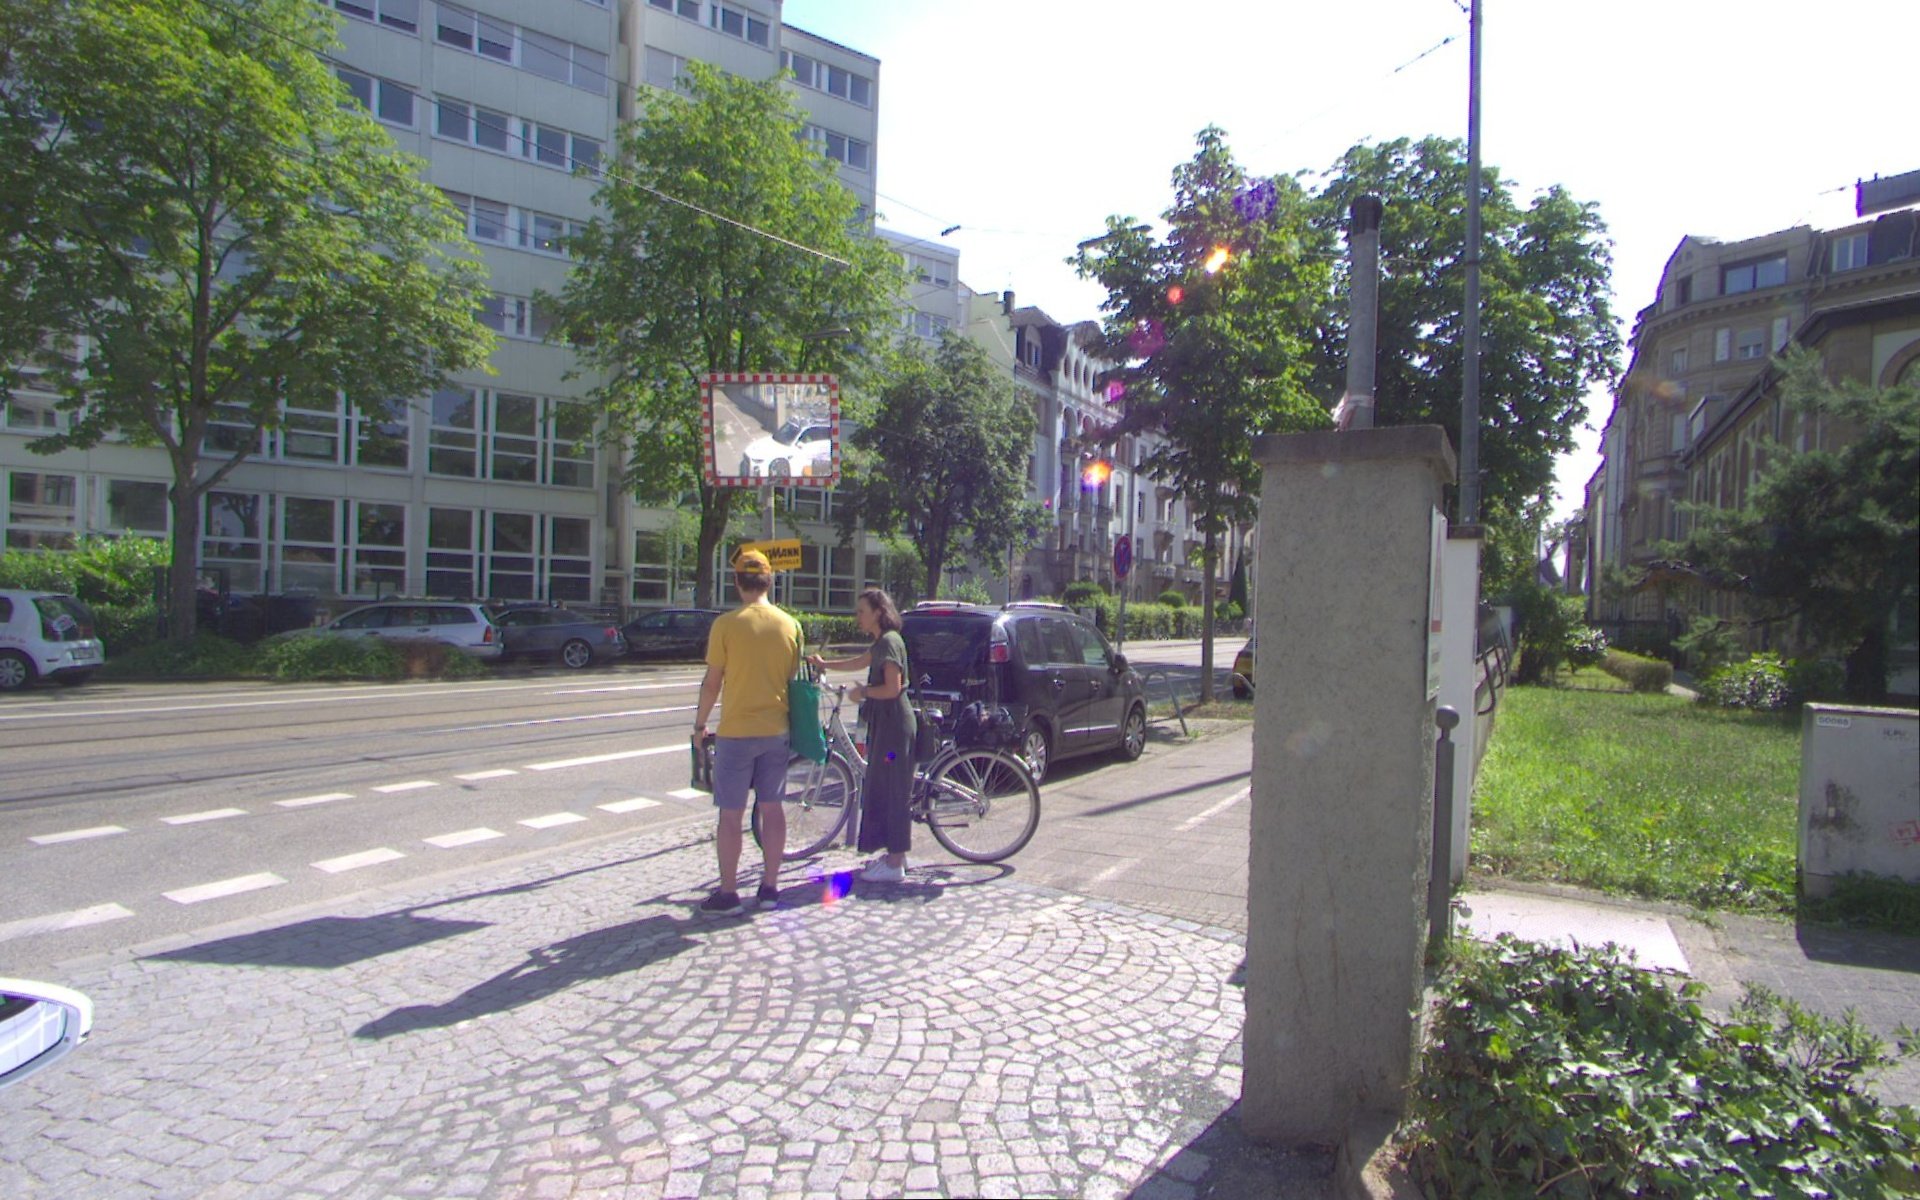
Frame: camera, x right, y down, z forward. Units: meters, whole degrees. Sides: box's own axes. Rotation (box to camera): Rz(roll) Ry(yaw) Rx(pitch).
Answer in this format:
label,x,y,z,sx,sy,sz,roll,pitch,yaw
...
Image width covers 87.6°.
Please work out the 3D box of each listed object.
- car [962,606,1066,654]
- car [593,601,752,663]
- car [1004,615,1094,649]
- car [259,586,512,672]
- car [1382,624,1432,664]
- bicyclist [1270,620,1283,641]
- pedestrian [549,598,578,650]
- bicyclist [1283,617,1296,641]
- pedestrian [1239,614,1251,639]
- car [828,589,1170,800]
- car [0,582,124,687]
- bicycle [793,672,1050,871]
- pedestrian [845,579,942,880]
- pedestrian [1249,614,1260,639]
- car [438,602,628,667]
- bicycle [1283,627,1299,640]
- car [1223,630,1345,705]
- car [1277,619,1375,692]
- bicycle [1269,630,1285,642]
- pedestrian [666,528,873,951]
label,x,y,z,sx,sy,sz,roll,pitch,yaw
car,2.296,1.264,42.541,3.935,1.884,1.993,2,0,-23
car,-7.547,0.847,26.449,3.875,1.505,1.556,2,0,-16
car,4.337,1.564,49.201,3.929,1.528,1.997,2,-1,-16
car,-11.723,0.619,20.744,4.270,1.625,1.555,2,-1,-19
car,20.853,2.004,46.624,1.828,1.702,3.984,1,-1,28
bicyclist,25.240,2.428,79.807,0.793,1.563,0.860,2,0,33
pedestrian,-11.486,0.698,29.017,0.417,1.480,0.620,2,0,27
bicyclist,26.004,2.268,79.022,0.793,1.825,0.860,2,0,33
pedestrian,22.553,2.063,79.222,0.680,1.958,0.785,2,0,28
car,0.614,0.823,10.387,1.829,1.706,3.981,1,-1,31
car,-15.147,0.477,14.851,3.874,1.505,1.610,1,0,-15
bicycle,-0.229,1.003,6.048,1.484,1.055,0.363,2,0,12
pedestrian,-0.372,0.714,5.719,0.445,1.642,0.422,-1,-1,12
pedestrian,23.191,2.078,78.906,0.680,1.958,0.785,2,0,28
car,-9.876,0.812,23.456,3.875,1.375,1.556,2,0,-16
bicycle,26.112,2.634,78.964,0.670,0.929,2.309,2,0,32
car,7.208,1.396,22.046,1.828,1.430,3.984,1,-1,28
car,9.718,1.400,26.401,1.828,1.702,3.984,1,-1,28
bicycle,25.329,2.860,79.931,0.670,0.929,2.309,2,-1,32
pedestrian,-0.977,0.635,5.004,0.840,1.889,0.827,2,0,-21
